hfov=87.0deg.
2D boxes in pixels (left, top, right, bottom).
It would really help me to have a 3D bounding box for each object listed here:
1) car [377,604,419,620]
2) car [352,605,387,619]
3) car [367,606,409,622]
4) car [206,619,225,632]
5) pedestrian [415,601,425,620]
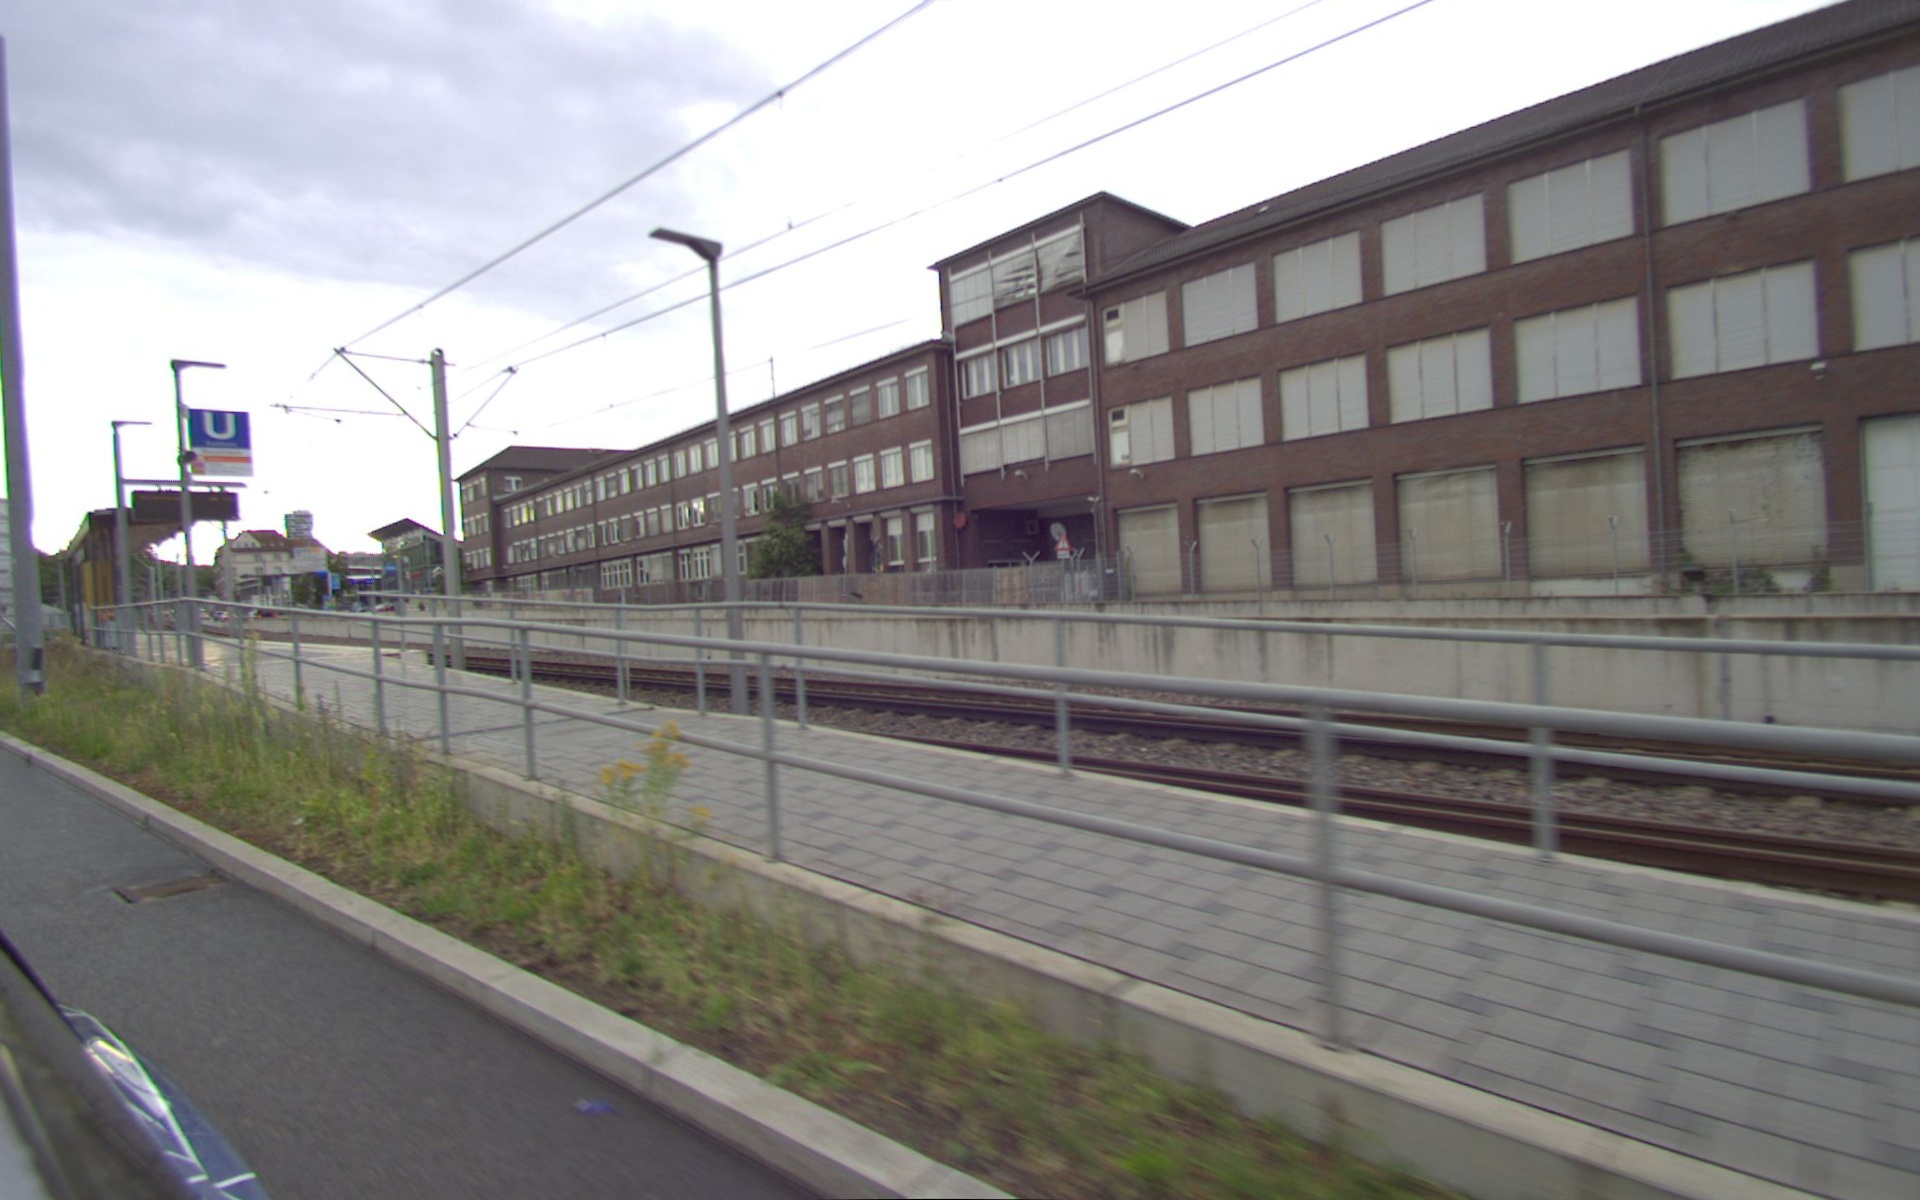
[{"bbox_3d":[-73.344,1.567,132.116,4.509,1.773,2.003,-3,0,-41],"label":"car"},{"bbox_3d":[-82.791,1.682,141.974,3.937,1.785,2.003,-3,1,-40],"label":"car"},{"bbox_3d":[-75.850,1.852,134.294,4.509,1.773,2.003,-3,0,-41],"label":"car"},{"bbox_3d":[-124.573,4.278,169.338,1.970,2.029,4.004,-1,-1,-43],"label":"car"},{"bbox_3d":[-56.358,1.096,105.686,0.722,2.029,0.578,-1,0,13],"label":"pedestrian"}]
